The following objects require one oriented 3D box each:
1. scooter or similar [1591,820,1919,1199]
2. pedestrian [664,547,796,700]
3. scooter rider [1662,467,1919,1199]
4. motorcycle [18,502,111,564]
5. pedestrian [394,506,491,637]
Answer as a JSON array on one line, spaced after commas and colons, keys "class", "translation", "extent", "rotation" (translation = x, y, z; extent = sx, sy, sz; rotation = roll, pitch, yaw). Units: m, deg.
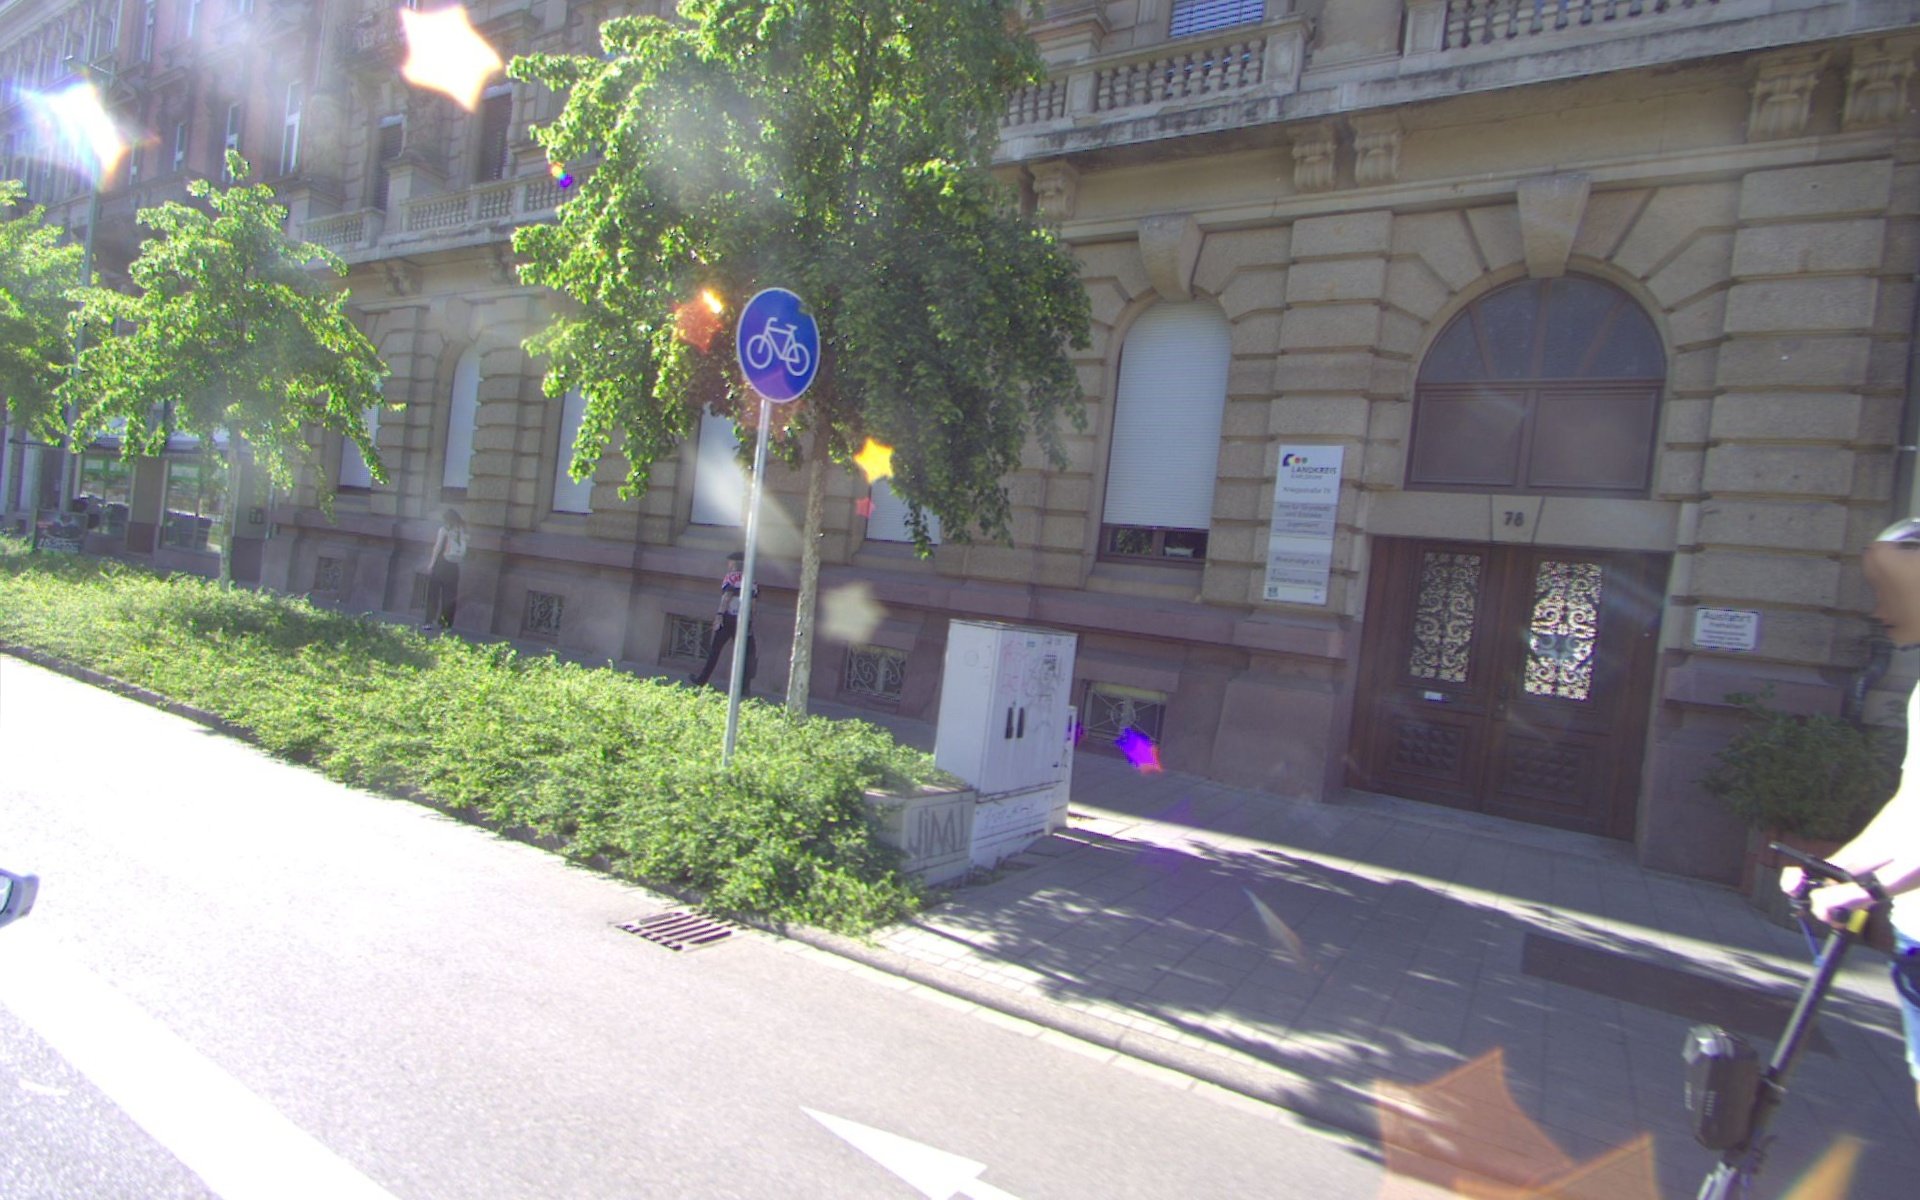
[{"class": "scooter or similar", "translation": [2.208, 1.236, 2.306], "extent": [1.130, 1.172, 0.647], "rotation": [7, -1, 26]}, {"class": "pedestrian", "translation": [-2.819, 0.279, 12.348], "extent": [1.096, 1.714, 0.969], "rotation": [6, 2, 33]}, {"class": "scooter rider", "translation": [2.306, 0.720, 2.293], "extent": [0.882, 1.889, 0.662], "rotation": [7, 0, 27]}, {"class": "motorcycle", "translation": [-22.607, -1.701, 25.365], "extent": [2.932, 1.281, 0.867], "rotation": [6, -1, 32]}, {"class": "pedestrian", "translation": [-8.195, -0.440, 15.928], "extent": [1.081, 1.945, 0.889], "rotation": [7, 2, 37]}]
